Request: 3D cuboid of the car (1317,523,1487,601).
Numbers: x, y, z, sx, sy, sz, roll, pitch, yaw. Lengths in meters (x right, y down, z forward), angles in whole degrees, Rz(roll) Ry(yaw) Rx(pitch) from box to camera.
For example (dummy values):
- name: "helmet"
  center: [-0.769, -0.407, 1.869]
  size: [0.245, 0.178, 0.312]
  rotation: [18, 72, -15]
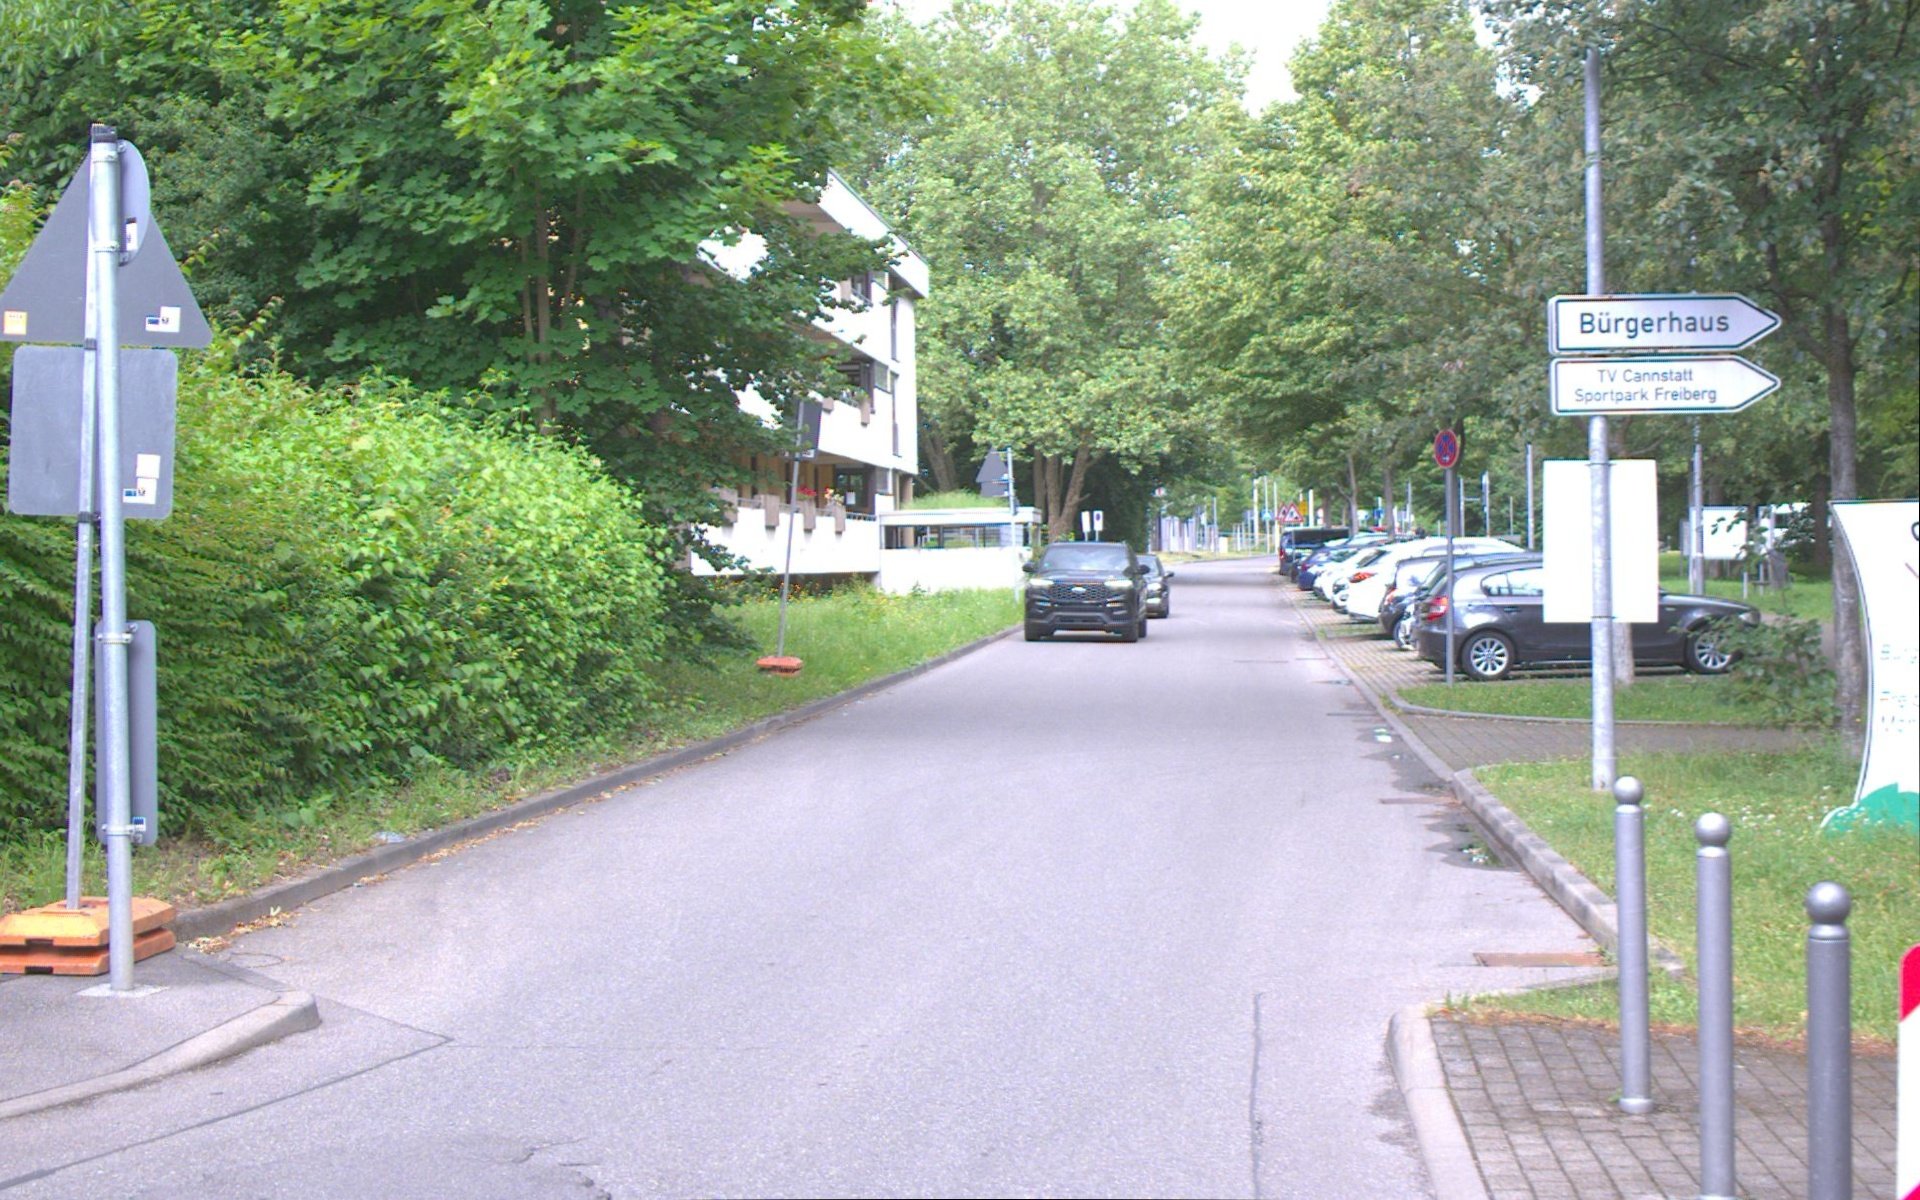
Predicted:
- name: "car"
  center: [11.371, -0.988, 88.535]
  size: [4.063, 1.681, 1.822]
  rotation: [-4, 1, 1]

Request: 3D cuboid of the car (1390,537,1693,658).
- name: "car"
  center: [8.285, -0.044, 49.263]
  size: [4.063, 1.563, 1.822]
  rotation: [-2, 1, 4]

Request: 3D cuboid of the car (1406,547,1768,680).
- name: "car"
  center: [7.527, 0.173, 41.606]
  size: [4.063, 1.429, 2.000]
  rotation: [-2, -1, 4]

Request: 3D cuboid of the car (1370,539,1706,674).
- name: "car"
  center: [7.409, 0.092, 44.386]
  size: [4.063, 1.563, 1.822]
  rotation: [-2, -1, 4]

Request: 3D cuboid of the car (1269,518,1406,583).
- name: "car"
  center: [11.939, -1.573, 108.936]
  size: [4.063, 1.764, 1.822]
  rotation: [-4, 1, 1]

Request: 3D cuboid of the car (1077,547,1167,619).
- name: "car"
  center: [3.709, -0.410, 78.020]
  size: [1.969, 1.570, 4.338]
  rotation: [0, 1, 4]

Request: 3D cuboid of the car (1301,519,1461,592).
- name: "car"
  center: [11.427, -1.217, 93.468]
  size: [4.063, 1.681, 1.822]
  rotation: [-4, 1, 1]

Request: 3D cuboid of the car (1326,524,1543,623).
- name: "car"
  center: [9.569, -0.542, 69.518]
  size: [4.063, 1.681, 1.822]
  rotation: [-4, 1, 1]

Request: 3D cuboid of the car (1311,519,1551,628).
- name: "car"
  center: [8.611, -0.494, 63.091]
  size: [4.063, 1.681, 1.822]
  rotation: [-4, 1, 1]

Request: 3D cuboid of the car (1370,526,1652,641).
- name: "car"
  center: [8.620, -0.263, 54.018]
  size: [4.063, 1.483, 1.822]
  rotation: [-4, 1, 1]

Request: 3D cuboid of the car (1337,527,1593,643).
- name: "car"
  center: [8.669, -0.268, 59.264]
  size: [4.063, 1.681, 1.822]
  rotation: [-4, 1, 1]

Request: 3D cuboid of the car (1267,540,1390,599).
- name: "car"
  center: [13.004, -1.086, 121.582]
  size: [4.063, 1.764, 1.822]
  rotation: [-4, 1, 1]

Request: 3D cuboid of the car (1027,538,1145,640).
- name: "car"
  center: [2.281, -0.225, 61.049]
  size: [1.969, 1.741, 4.338]
  rotation: [0, 1, 4]

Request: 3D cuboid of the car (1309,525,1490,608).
- name: "car"
  center: [10.552, -0.817, 82.733]
  size: [4.063, 1.681, 1.822]
  rotation: [-4, 1, 1]
